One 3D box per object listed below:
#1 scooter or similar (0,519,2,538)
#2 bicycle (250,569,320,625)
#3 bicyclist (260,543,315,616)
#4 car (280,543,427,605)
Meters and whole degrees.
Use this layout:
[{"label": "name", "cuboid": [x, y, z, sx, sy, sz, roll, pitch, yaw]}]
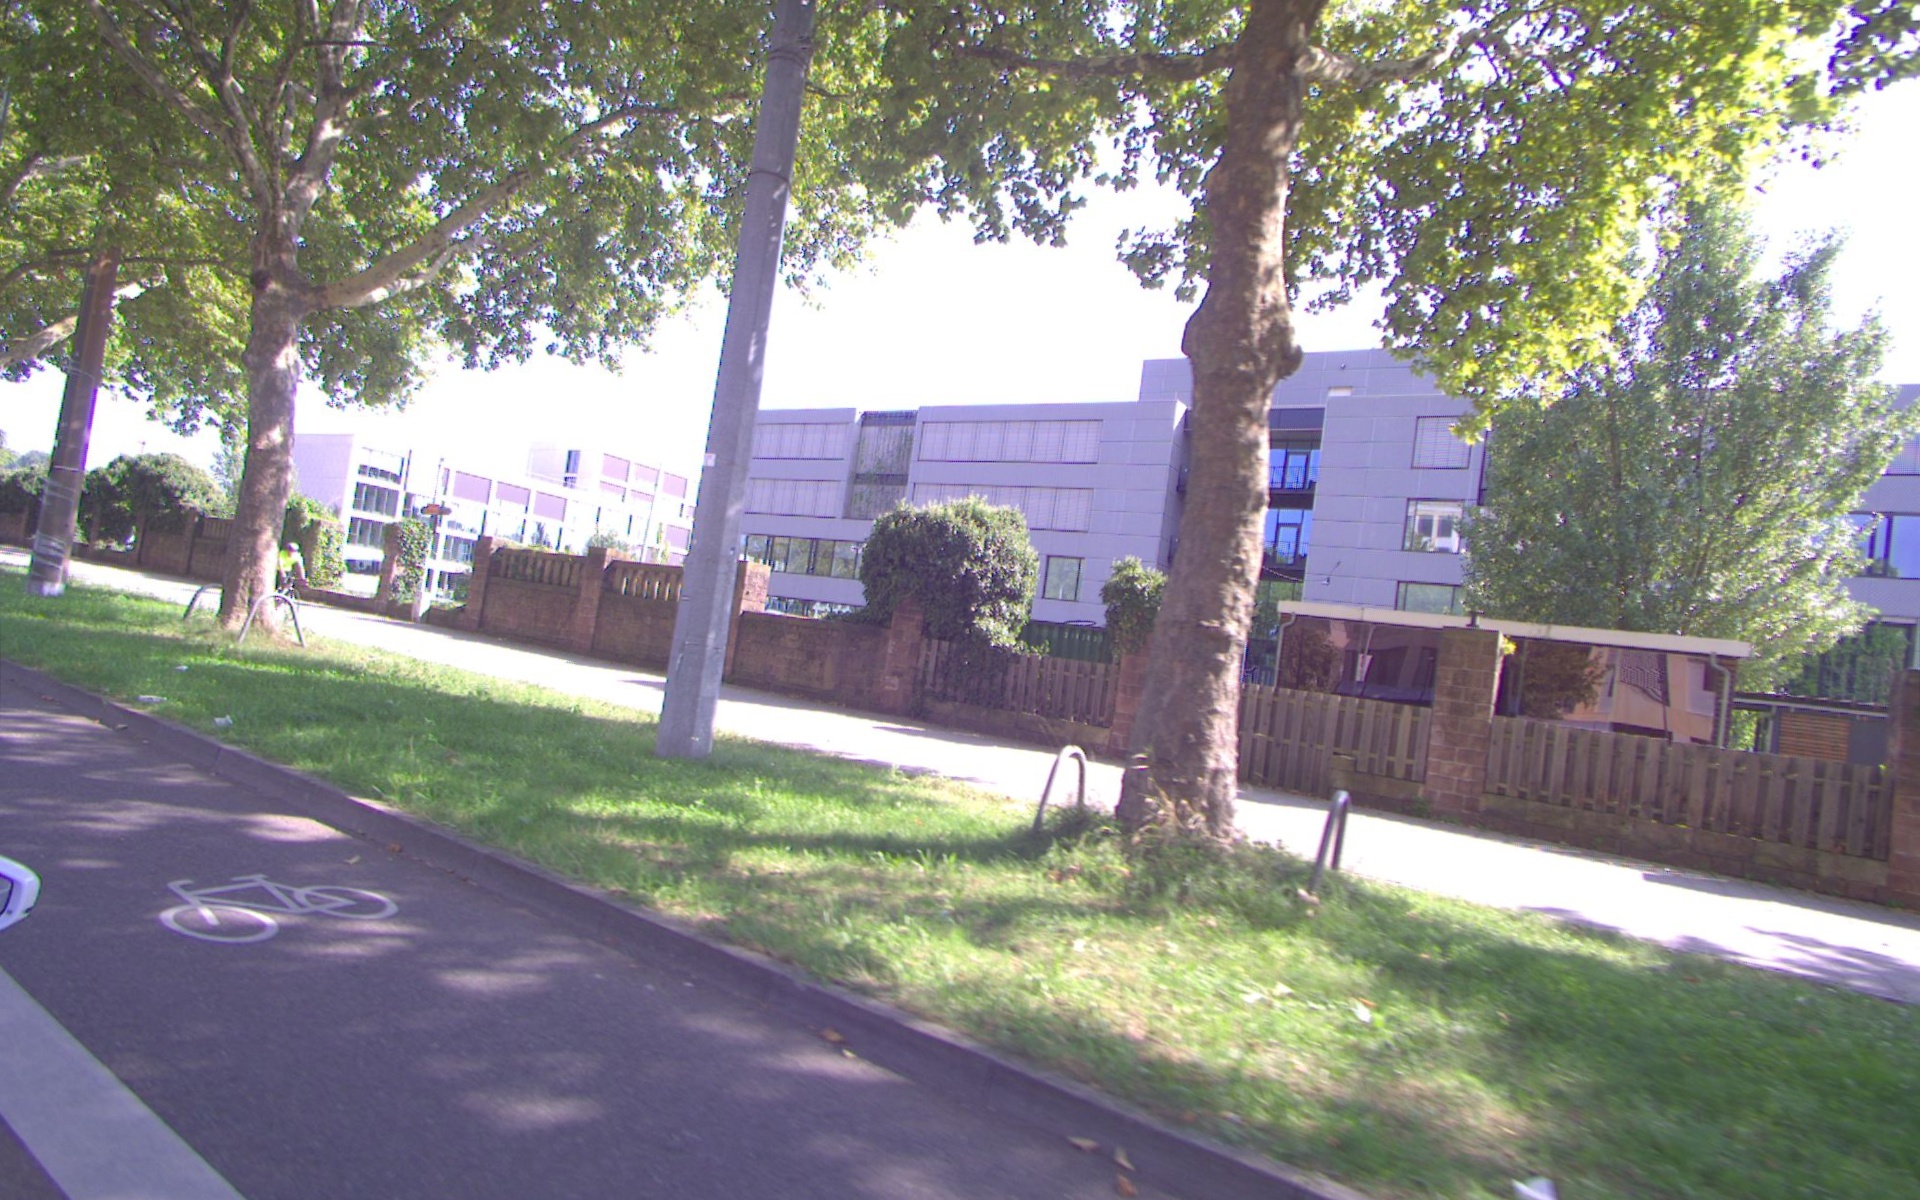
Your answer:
[{"label": "scooter or similar", "cuboid": [-44.254, -3.153, 45.279, 0.530, 1.205, 1.506, 6, -2, 37]}, {"label": "bicycle", "cuboid": [-14.685, -0.069, 21.868, 1.686, 1.018, 0.549, 6, -2, 34]}, {"label": "bicyclist", "cuboid": [-14.631, -0.453, 21.880, 0.828, 1.469, 0.549, 6, -2, 34]}, {"label": "car", "cuboid": [-24.102, -1.006, 40.145, 1.878, 1.753, 4.532, 6, -3, 31]}]
